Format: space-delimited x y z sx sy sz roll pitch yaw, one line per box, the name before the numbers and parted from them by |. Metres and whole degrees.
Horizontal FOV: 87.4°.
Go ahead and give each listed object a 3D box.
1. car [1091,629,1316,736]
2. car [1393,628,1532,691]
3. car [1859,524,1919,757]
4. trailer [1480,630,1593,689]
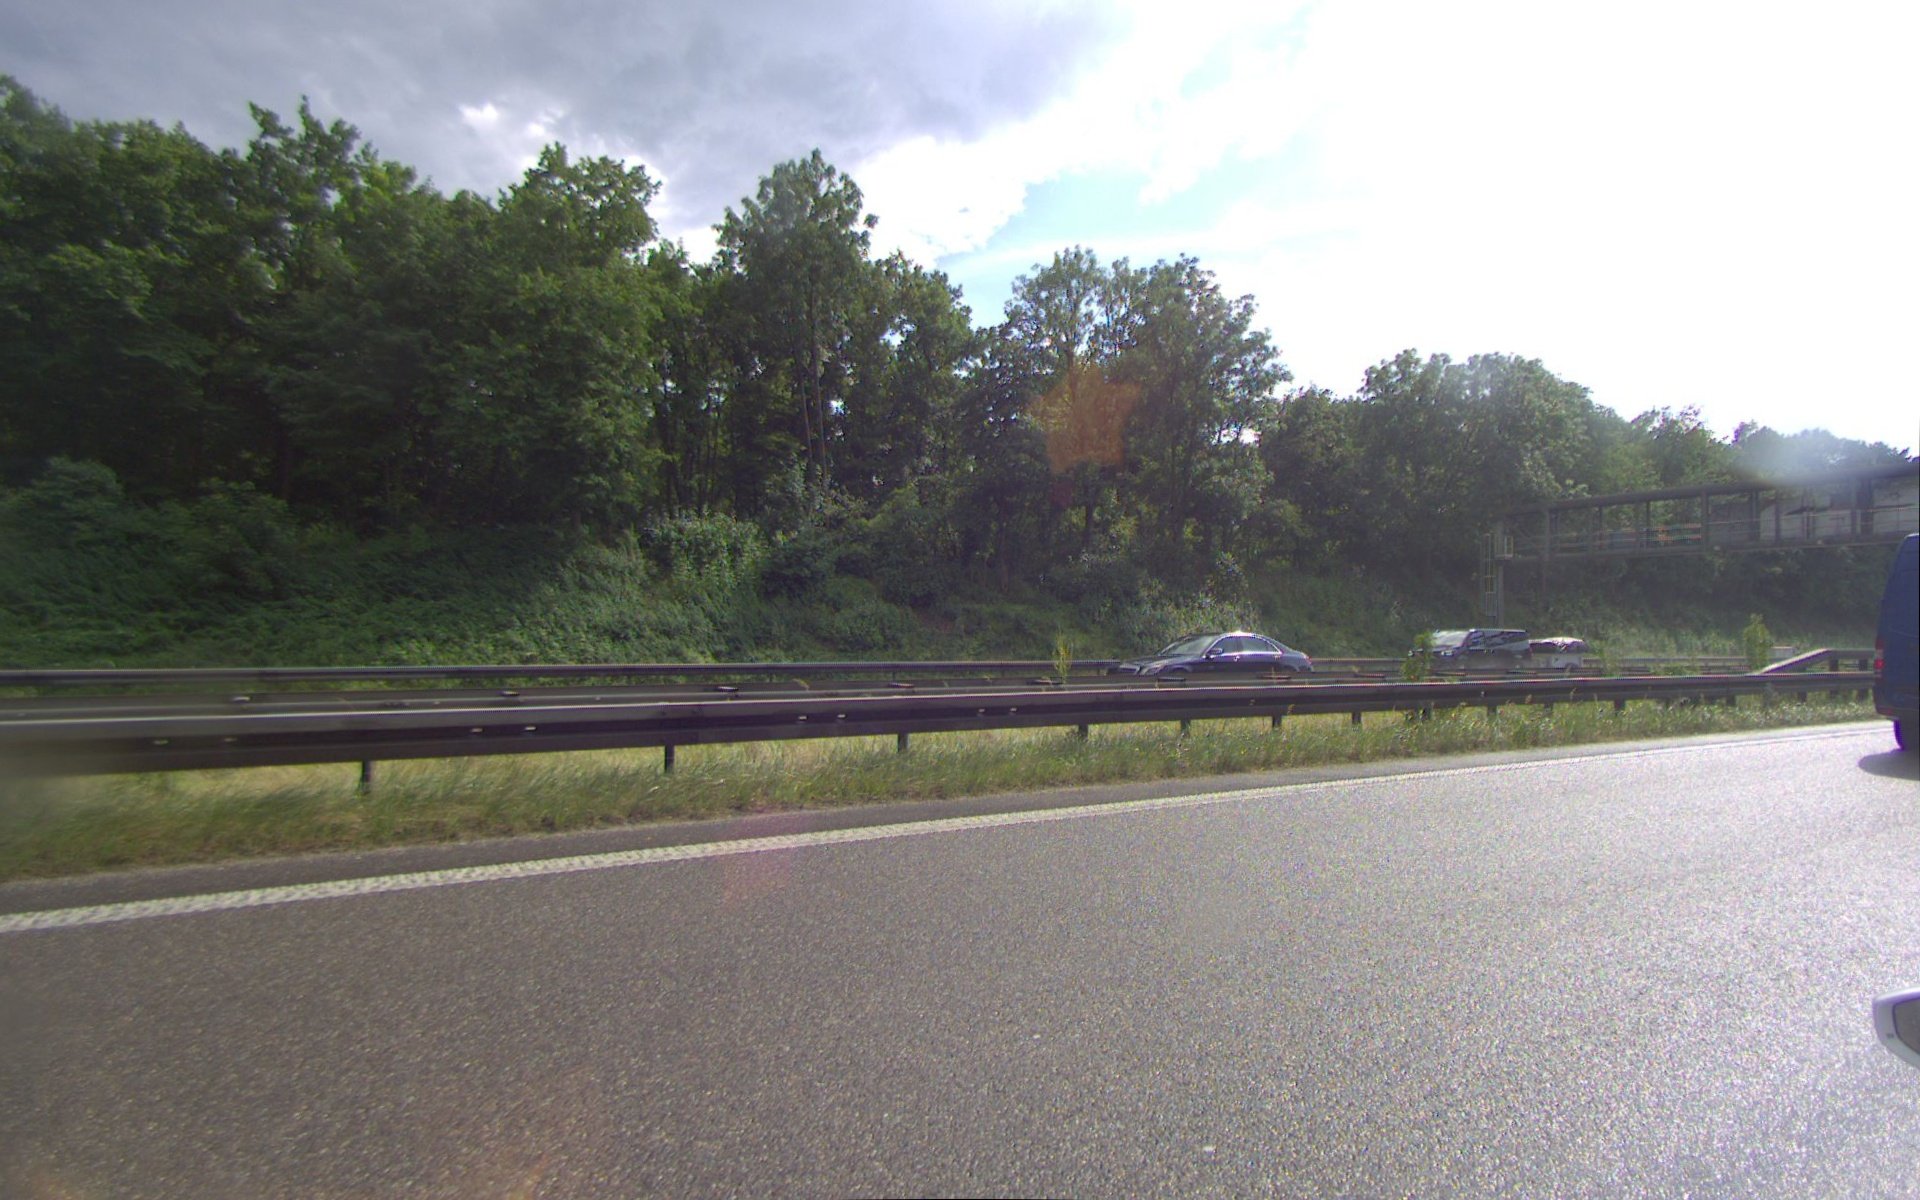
car | 5.337 1.723 21.839 4.678 2.040 1.984 2 0 -31
car | 17.887 2.076 35.662 5.081 2.040 1.983 2 0 -31
car | 13.768 0.534 12.685 5.710 2.684 2.005 2 0 -31
trailer | 21.821 2.216 37.982 3.953 2.040 1.984 2 0 -30
